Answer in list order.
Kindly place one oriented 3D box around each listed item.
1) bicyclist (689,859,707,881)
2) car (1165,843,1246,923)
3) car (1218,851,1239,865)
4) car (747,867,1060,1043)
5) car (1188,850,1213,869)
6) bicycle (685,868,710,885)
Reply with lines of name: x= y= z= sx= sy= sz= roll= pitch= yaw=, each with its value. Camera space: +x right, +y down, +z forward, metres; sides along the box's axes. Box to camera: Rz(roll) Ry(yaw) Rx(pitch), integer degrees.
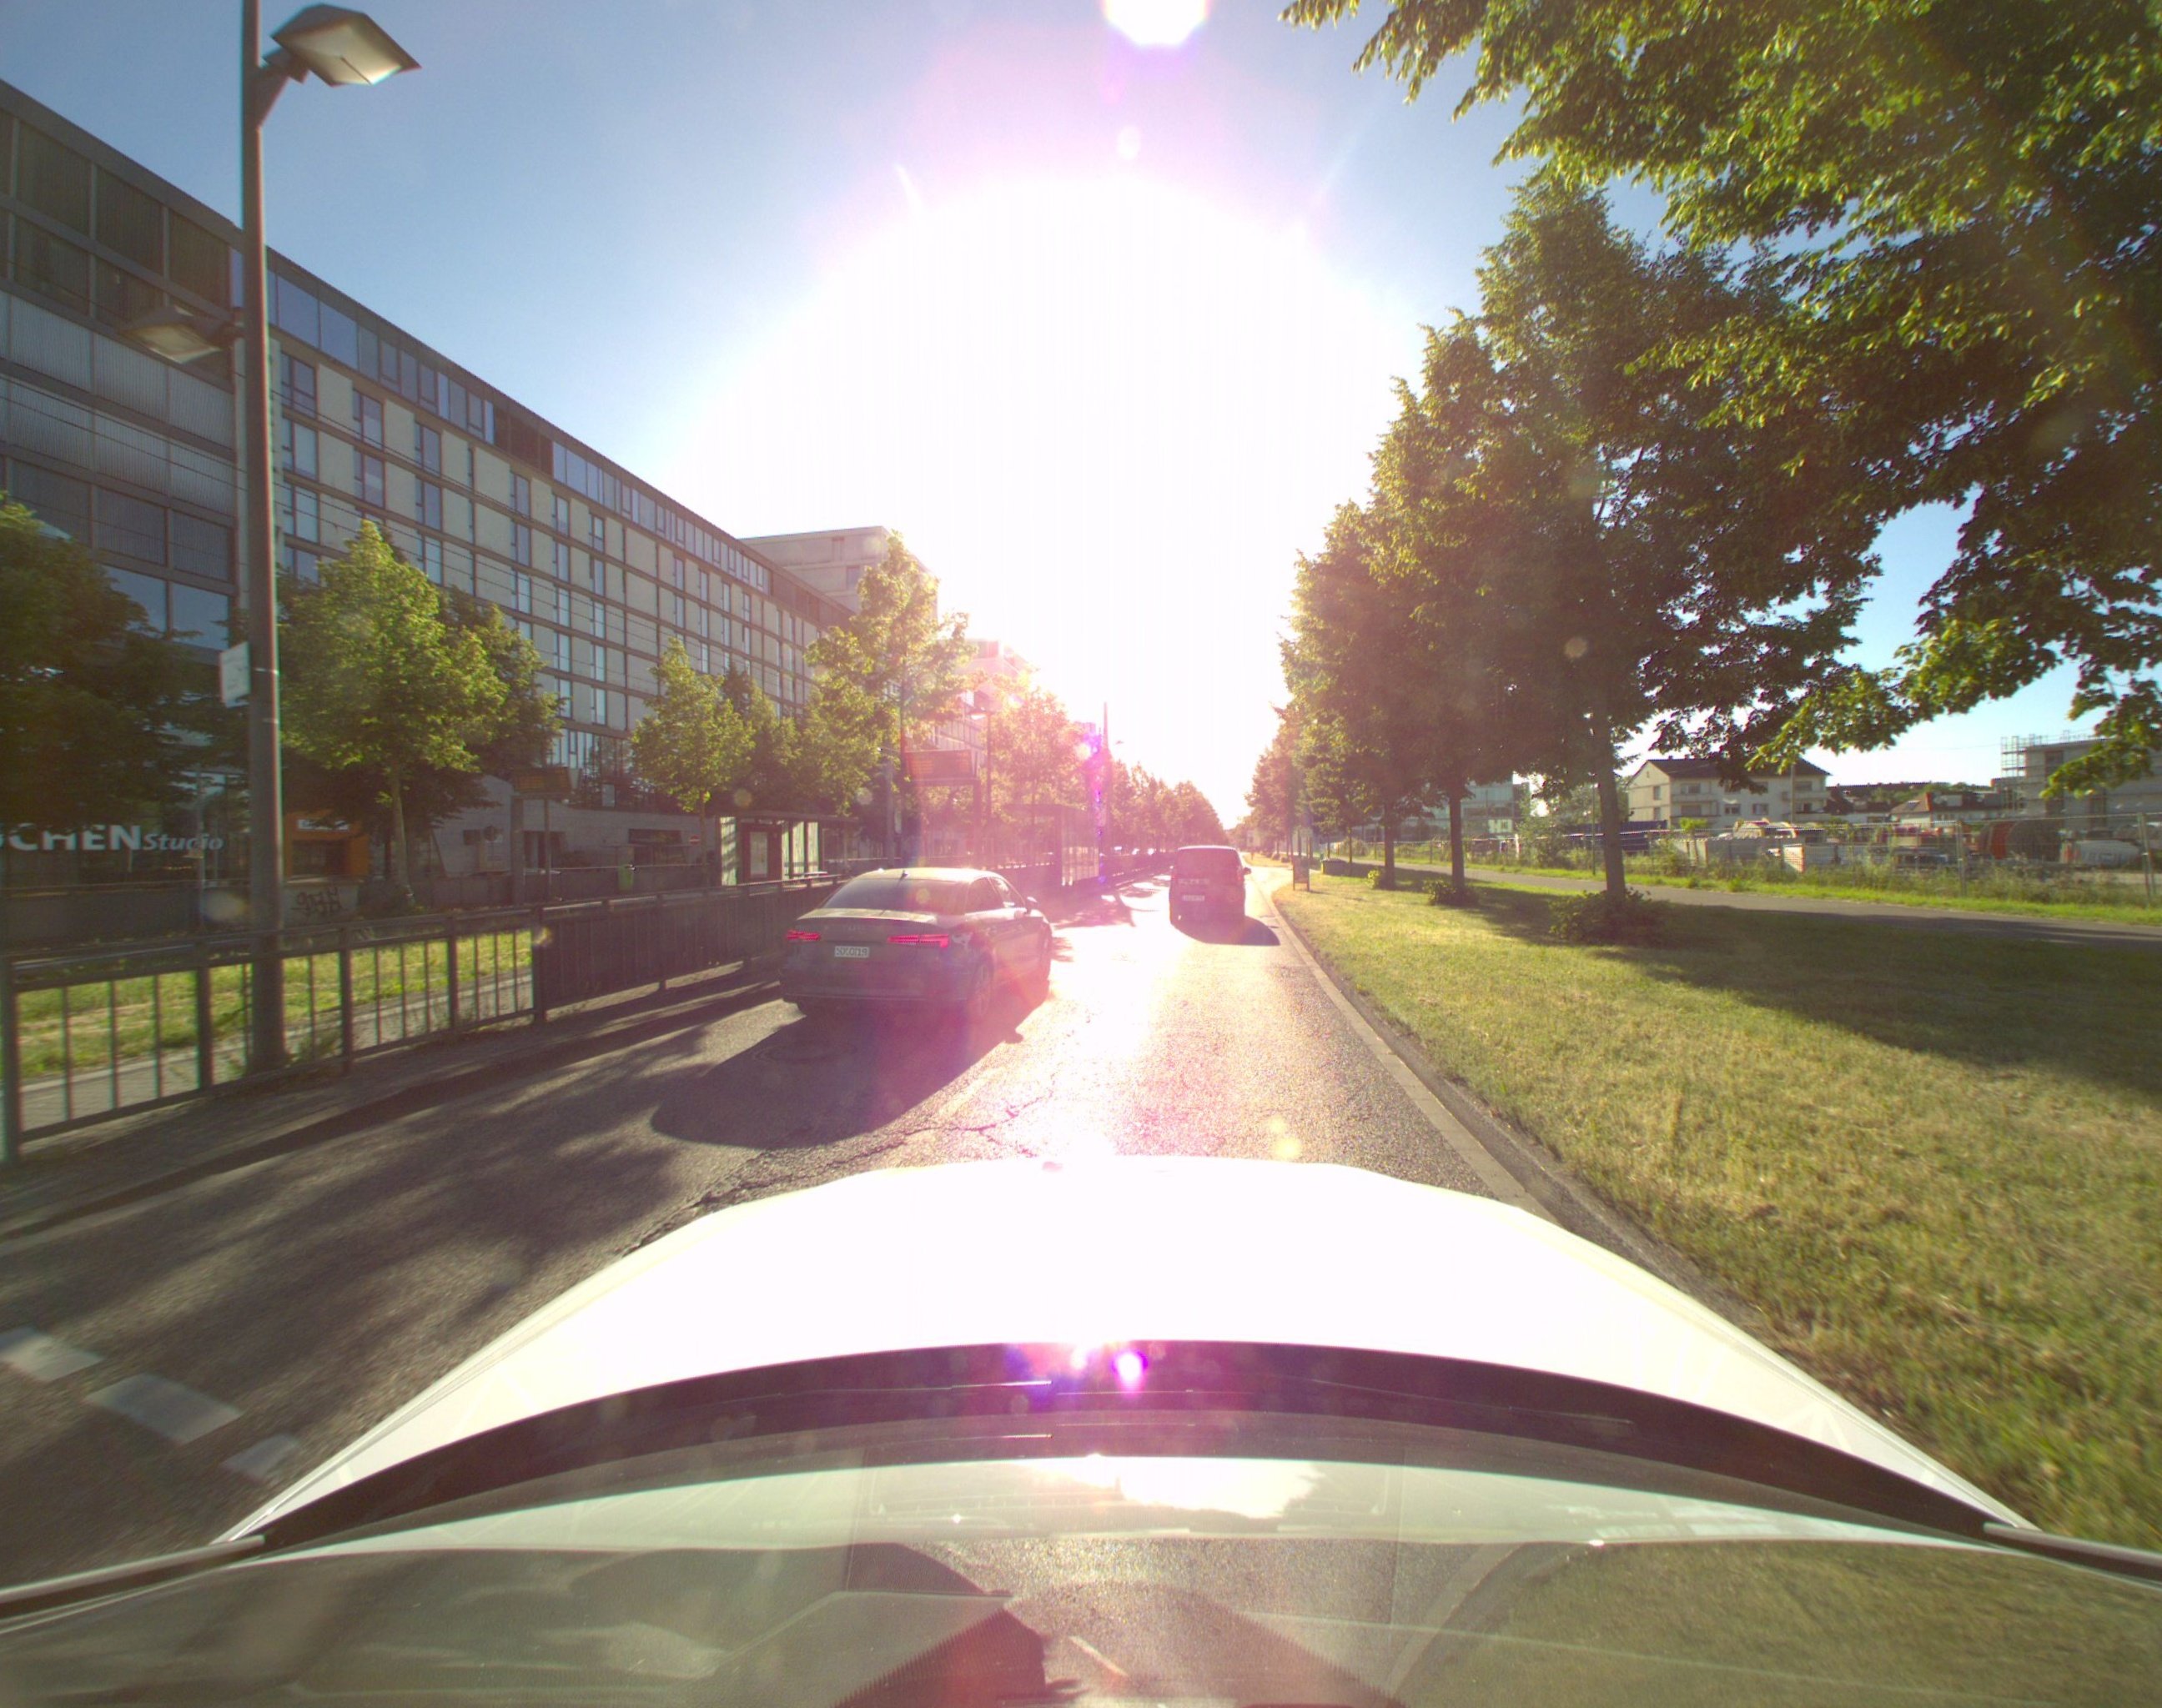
bicyclist: x=-26.163 y=1.077 z=55.590 sx=0.715 sy=1.463 sz=0.835 roll=-1 pitch=0 yaw=12
car: x=3.088 y=0.653 z=20.222 sx=1.787 sy=1.777 sz=4.010 roll=0 pitch=0 yaw=9
car: x=14.576 y=0.371 z=80.888 sx=1.931 sy=1.347 sz=4.010 roll=-1 pitch=0 yaw=9
car: x=-1.524 y=0.838 z=8.640 sx=1.710 sy=1.366 sz=4.158 roll=-1 pitch=-1 yaw=11
car: x=9.513 y=0.448 z=64.720 sx=1.931 sy=1.441 sz=4.010 roll=-1 pitch=0 yaw=9
bicycle: x=-26.161 y=1.510 z=55.596 sx=0.727 sy=1.120 sz=1.576 roll=-1 pitch=1 yaw=14
